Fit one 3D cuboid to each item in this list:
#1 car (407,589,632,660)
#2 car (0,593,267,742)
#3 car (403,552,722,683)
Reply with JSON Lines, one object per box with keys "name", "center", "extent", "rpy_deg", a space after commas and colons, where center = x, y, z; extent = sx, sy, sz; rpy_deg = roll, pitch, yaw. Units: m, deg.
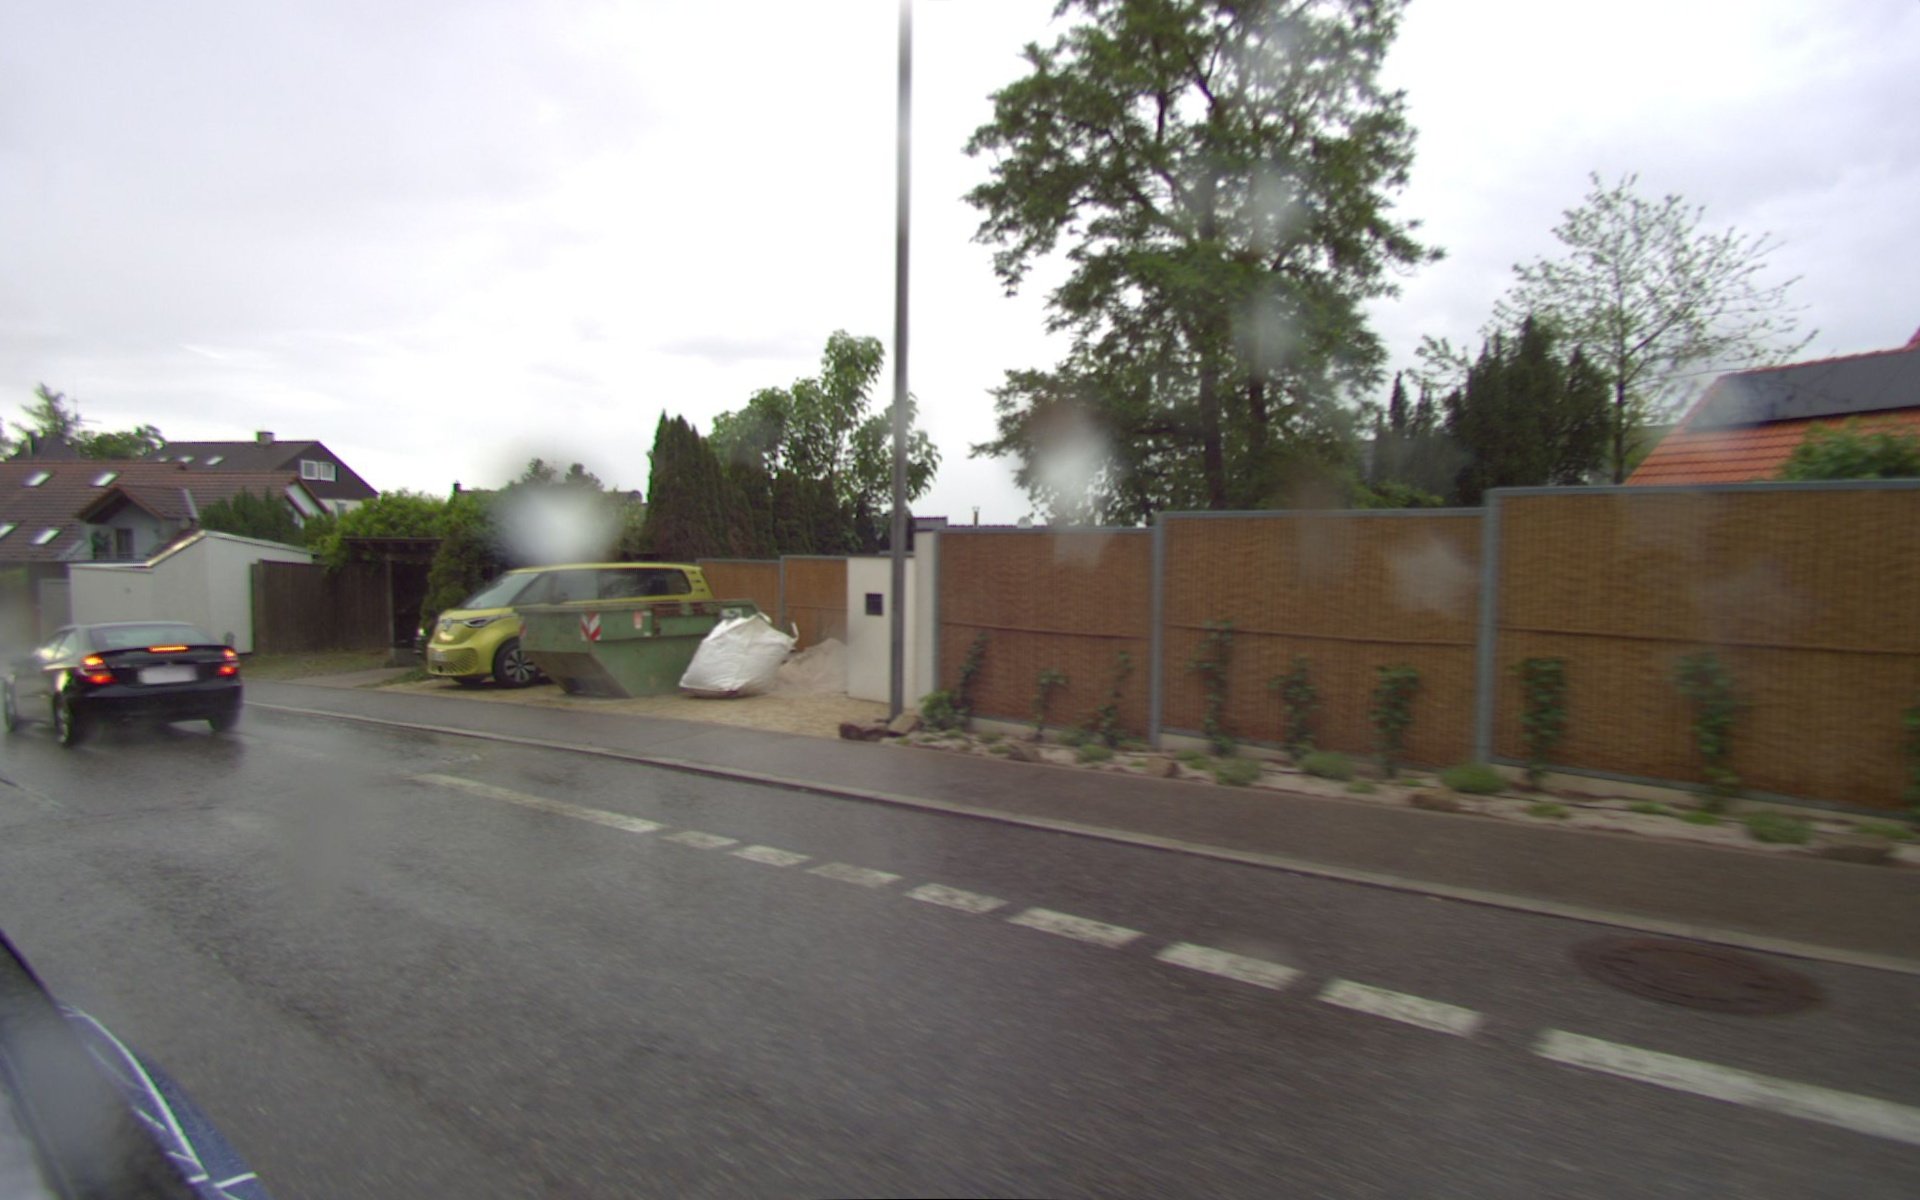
{"name": "car", "center": [-8.987, 0.451, 20.947], "extent": [1.786, 1.313, 3.964], "rpy_deg": [-1, 0, 33]}
{"name": "car", "center": [-10.485, 0.720, 12.606], "extent": [4.162, 1.523, 1.817], "rpy_deg": [-1, 1, 37]}
{"name": "car", "center": [-6.454, 0.196, 16.852], "extent": [2.088, 1.873, 4.458], "rpy_deg": [-1, 1, 40]}
